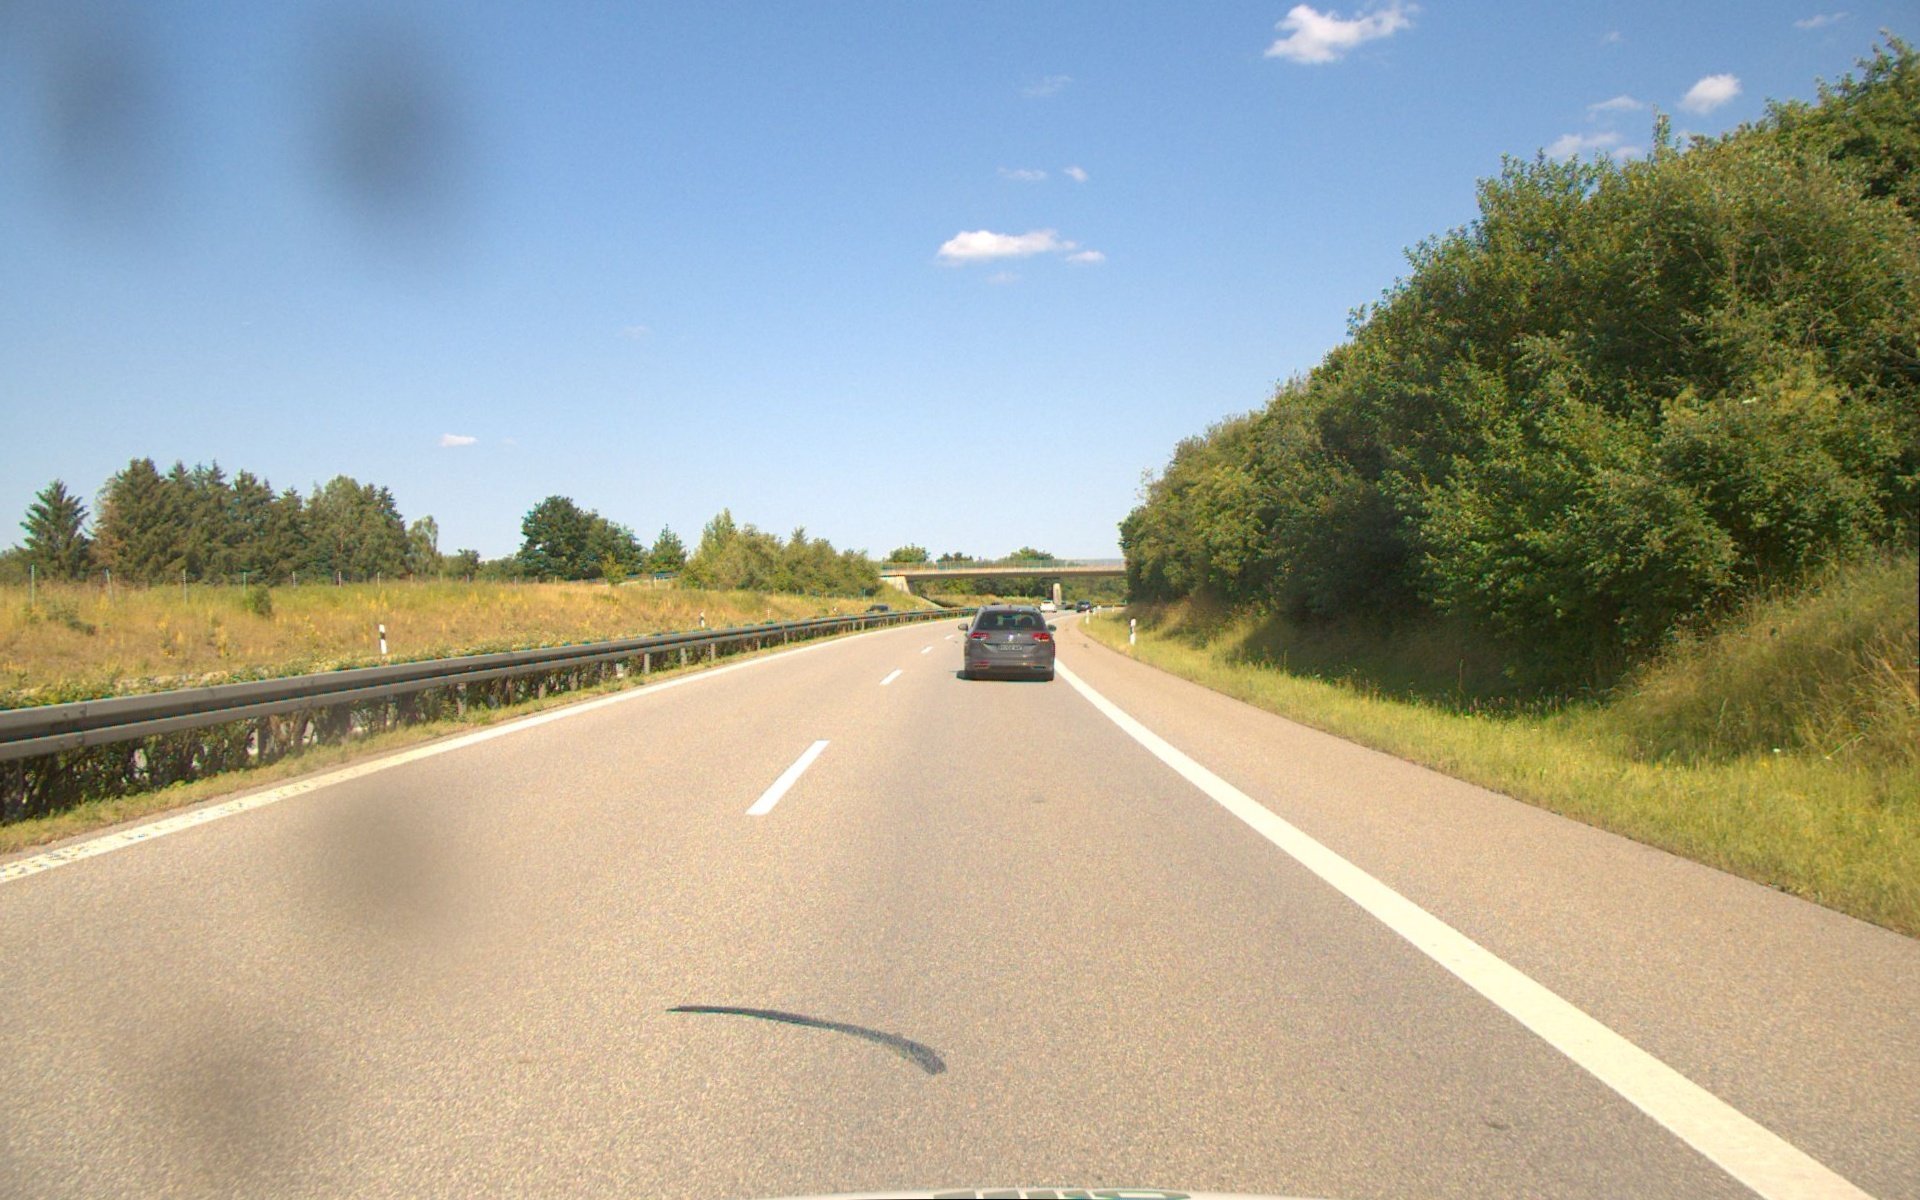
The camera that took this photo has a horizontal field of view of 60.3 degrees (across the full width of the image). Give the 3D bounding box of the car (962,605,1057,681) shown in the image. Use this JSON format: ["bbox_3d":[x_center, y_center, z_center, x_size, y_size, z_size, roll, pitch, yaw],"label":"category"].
[{"bbox_3d":[1.026,0.808,32.996,1.753,1.368,4.001,2,0,3],"label":"car"}]

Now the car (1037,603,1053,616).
[{"bbox_3d":[10.463,1.165,203.242,1.965,1.368,4.001,2,-2,4],"label":"car"}]

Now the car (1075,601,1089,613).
[{"bbox_3d":[15.437,0.943,209.644,1.675,1.411,3.355,2,-2,2],"label":"car"}]
